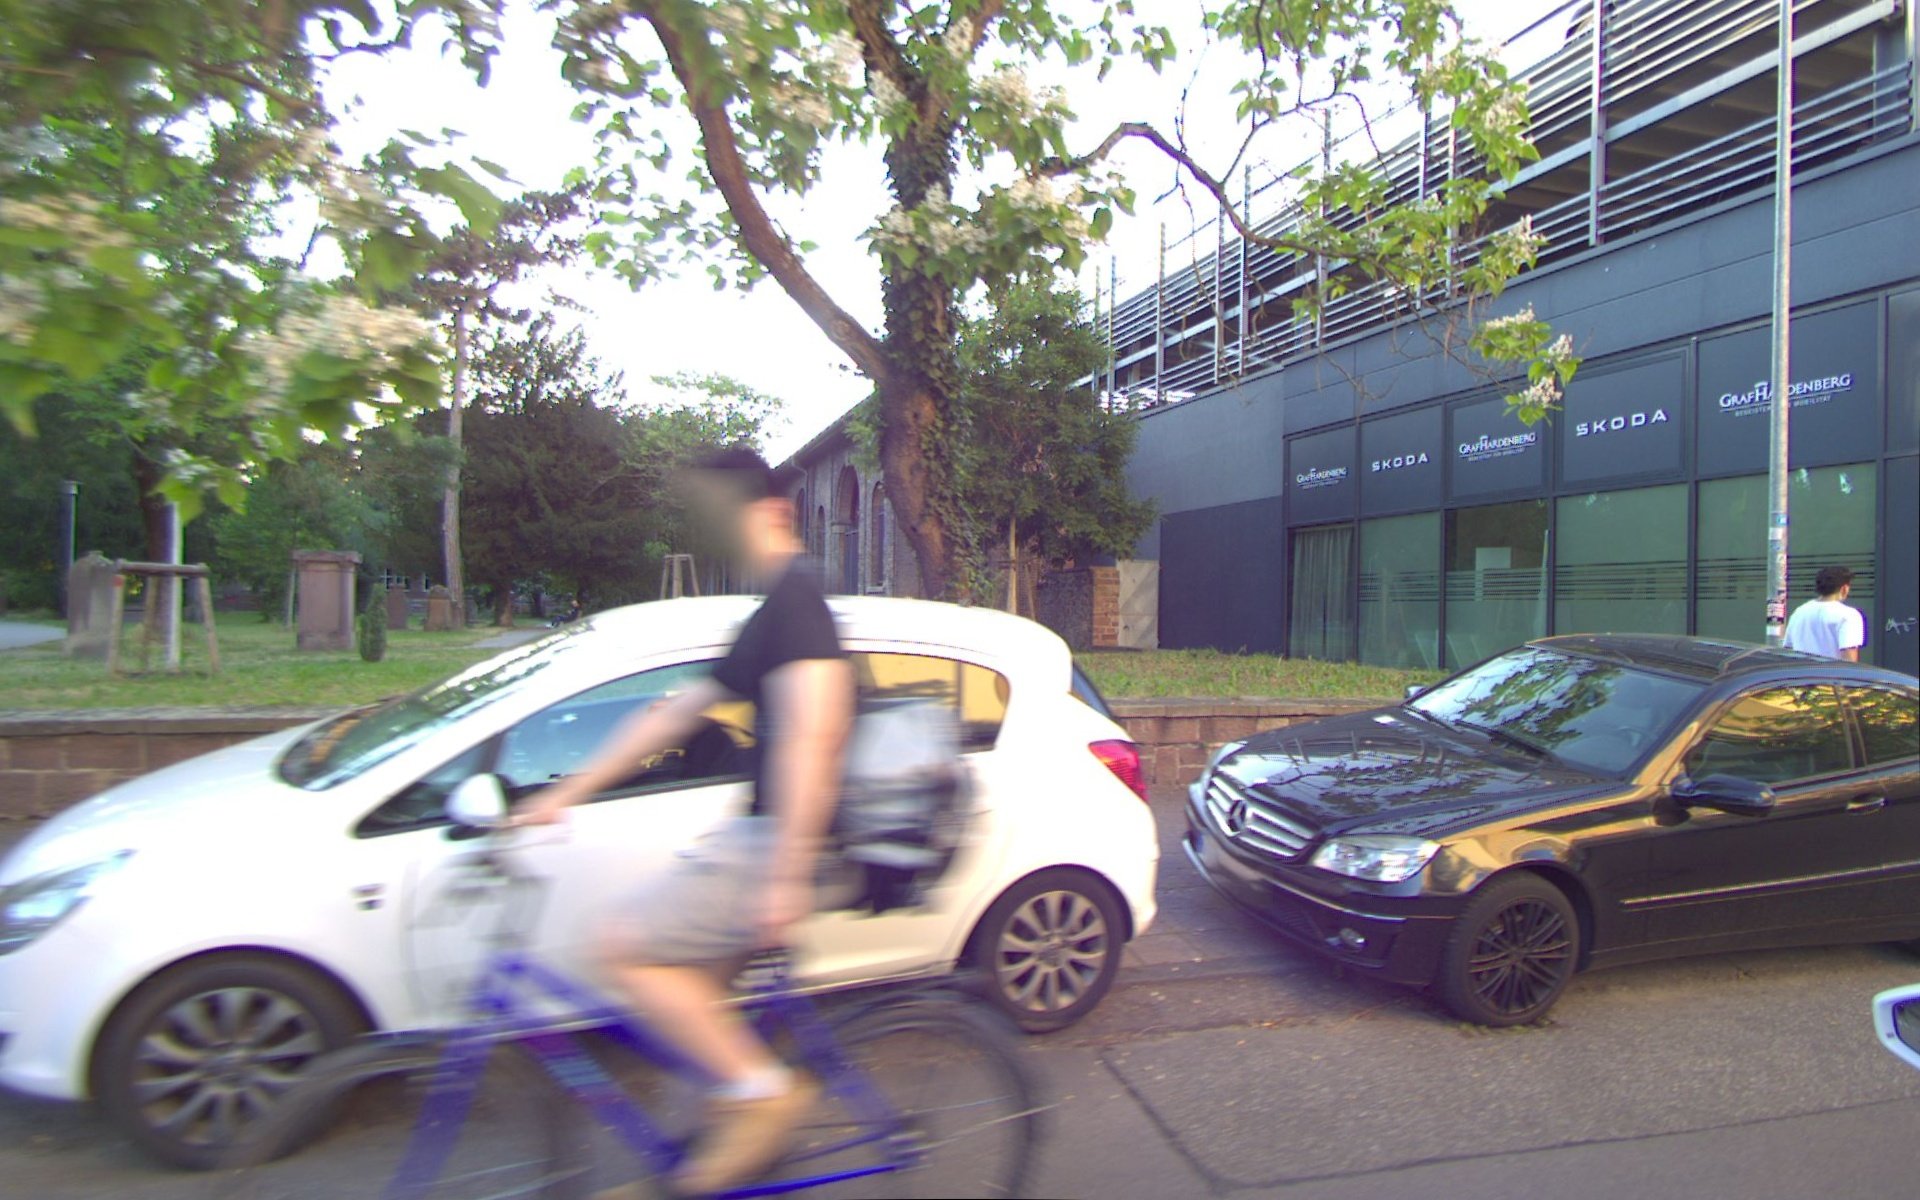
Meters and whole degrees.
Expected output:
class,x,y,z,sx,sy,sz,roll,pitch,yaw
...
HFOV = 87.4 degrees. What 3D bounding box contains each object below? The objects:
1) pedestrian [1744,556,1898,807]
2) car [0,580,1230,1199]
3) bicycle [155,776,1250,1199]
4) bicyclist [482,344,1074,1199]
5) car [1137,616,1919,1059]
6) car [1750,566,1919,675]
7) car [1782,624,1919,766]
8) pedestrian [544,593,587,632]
class,x,y,z,sx,sy,sz,roll,pitch,yaw
pedestrian,6.867,0.621,8.035,0.610,1.903,0.721,0,-1,-14
car,-1.085,0.743,3.828,3.827,1.535,1.658,0,2,-21
bicycle,-0.393,1.004,2.076,1.836,1.111,0.758,2,-2,-21
bicyclist,-0.400,0.535,2.112,1.001,1.832,0.857,0,-1,-20
car,3.243,0.894,4.963,4.342,1.435,1.660,1,4,-17
car,15.403,0.355,16.734,3.676,1.680,1.698,1,-1,-16
car,13.005,1.175,13.163,3.812,1.672,1.593,1,-1,-16
pedestrian,-14.998,0.488,38.242,1.258,1.445,1.235,0,-1,-9
